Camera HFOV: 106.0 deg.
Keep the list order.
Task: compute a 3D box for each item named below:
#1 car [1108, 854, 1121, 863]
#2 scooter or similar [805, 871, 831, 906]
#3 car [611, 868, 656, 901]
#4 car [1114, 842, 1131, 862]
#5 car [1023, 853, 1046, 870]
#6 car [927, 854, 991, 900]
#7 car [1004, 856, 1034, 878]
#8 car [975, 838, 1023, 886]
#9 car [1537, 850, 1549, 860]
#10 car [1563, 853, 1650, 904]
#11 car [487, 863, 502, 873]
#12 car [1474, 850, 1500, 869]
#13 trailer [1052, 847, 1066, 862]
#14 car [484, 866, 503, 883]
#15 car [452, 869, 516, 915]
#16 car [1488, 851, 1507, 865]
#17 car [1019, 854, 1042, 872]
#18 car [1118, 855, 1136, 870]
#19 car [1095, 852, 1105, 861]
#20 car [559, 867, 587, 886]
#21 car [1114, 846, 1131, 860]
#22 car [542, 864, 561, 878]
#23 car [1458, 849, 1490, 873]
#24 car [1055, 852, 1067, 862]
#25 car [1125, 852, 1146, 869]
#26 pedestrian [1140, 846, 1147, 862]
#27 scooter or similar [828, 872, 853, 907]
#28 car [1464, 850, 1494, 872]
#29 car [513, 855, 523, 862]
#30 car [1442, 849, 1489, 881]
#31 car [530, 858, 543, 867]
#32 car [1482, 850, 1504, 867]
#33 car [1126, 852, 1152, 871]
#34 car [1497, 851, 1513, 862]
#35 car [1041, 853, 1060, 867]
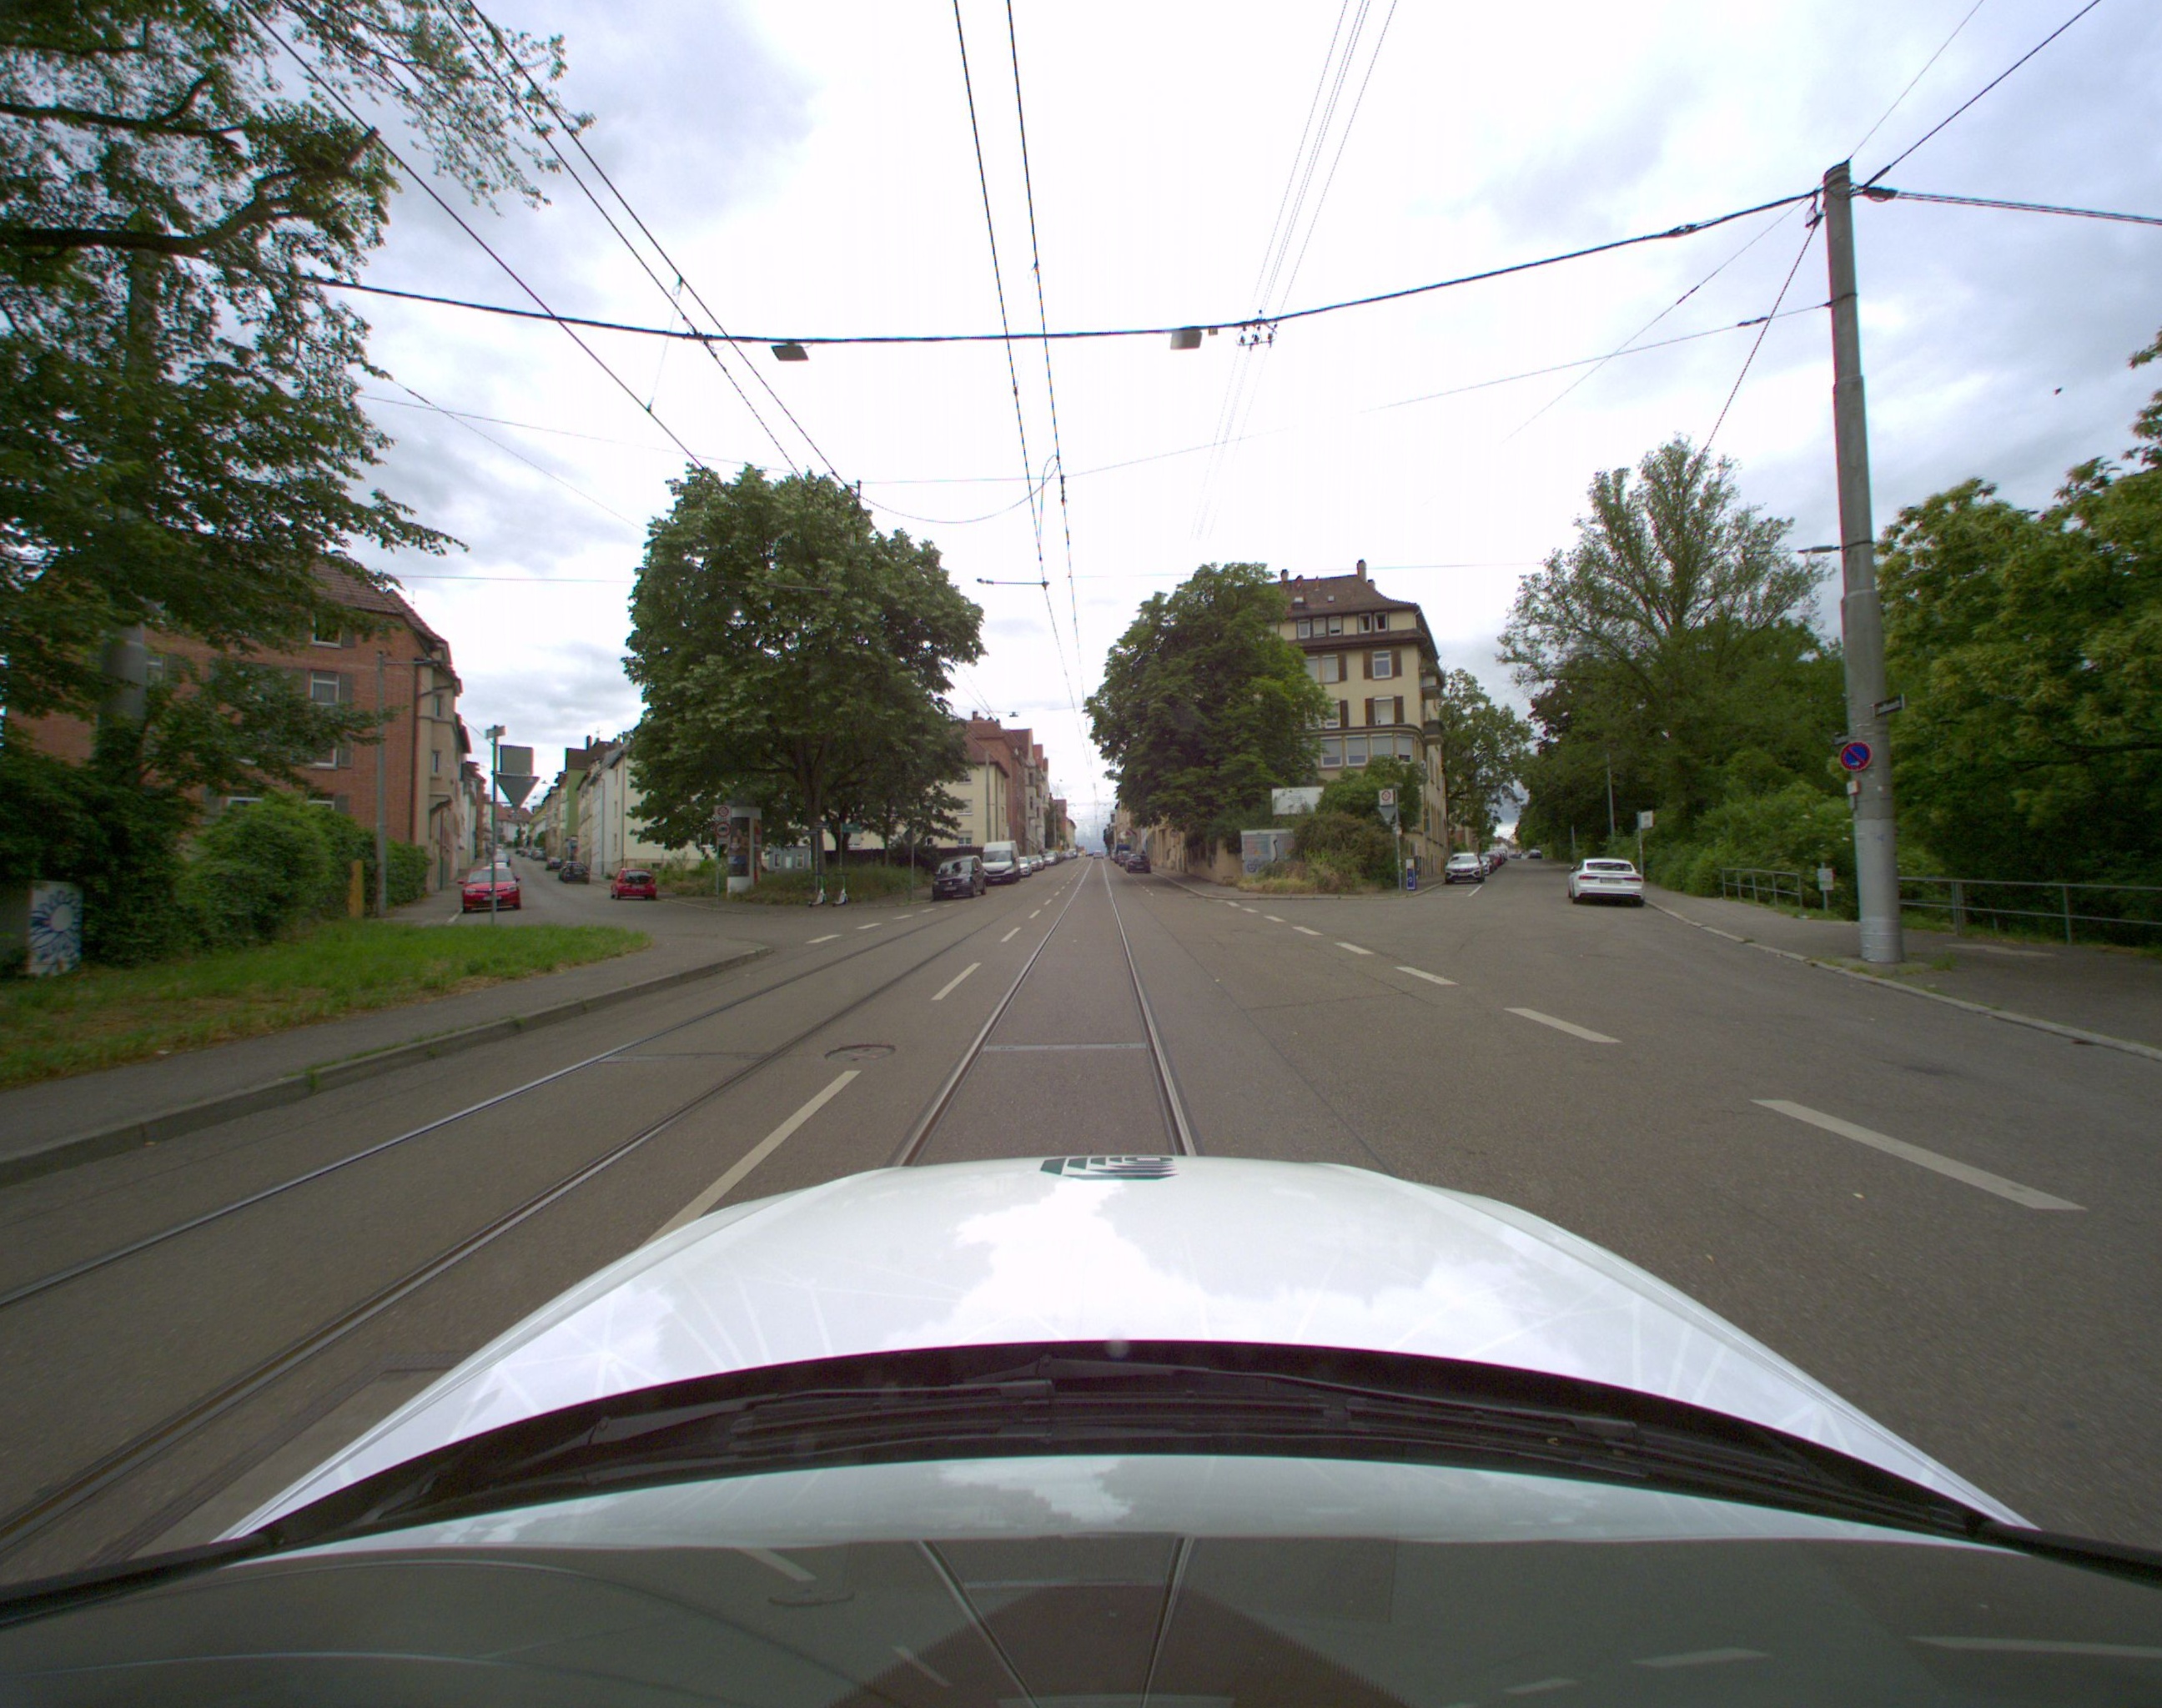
[{"bbox_3d":[5.078,0.700,124.511,1.744,1.390,4.307,1,0,0],"label":"car"},{"bbox_3d":[-9.395,1.226,29.156,0.310,1.145,1.718,-1,1,1],"label":"scooter or similar"},{"bbox_3d":[-20.906,1.382,37.977,1.658,1.415,3.693,0,0,-32],"label":"car"},{"bbox_3d":[5.291,-0.234,103.256,1.986,2.376,5.057,-1,0,1],"label":"car"},{"bbox_3d":[-4.429,0.705,77.916,1.822,1.429,4.626,-5,0,-1],"label":"car"},{"bbox_3d":[-5.248,0.937,35.667,1.755,1.775,4.671,-5,0,3],"label":"car"},{"bbox_3d":[-4.519,0.947,59.763,1.713,1.403,4.314,-4,0,1],"label":"car"},{"bbox_3d":[-4.941,0.451,50.055,2.152,2.606,6.217,-4,0,0],"label":"car"},{"bbox_3d":[77.009,0.192,135.814,1.727,1.541,3.811,-4,-2,29],"label":"car"},{"bbox_3d":[16.304,0.693,25.478,1.876,1.381,4.628,1,1,28],"label":"car"},{"bbox_3d":[-70.537,1.671,97.899,1.464,1.235,3.384,0,0,-36],"label":"car"},{"bbox_3d":[35.181,0.487,70.557,1.727,1.541,3.811,-4,-2,29],"label":"car"},{"bbox_3d":[-3.308,0.085,121.135,1.742,2.155,4.073,-3,0,2],"label":"trailer"},{"bbox_3d":[-57.202,2.018,79.309,1.464,1.479,3.739,0,-3,-36],"label":"car"},{"bbox_3d":[-21.154,1.292,28.930,1.757,1.478,3.574,0,0,-36],"label":"car"},{"bbox_3d":[49.012,0.447,95.846,1.727,1.541,3.811,-4,-2,29],"label":"car"},{"bbox_3d":[-4.501,0.770,73.368,1.594,1.368,3.809,-5,0,2],"label":"car"},{"bbox_3d":[4.819,0.889,85.479,1.821,1.519,4.029,1,1,2],"label":"car"},{"bbox_3d":[3.366,0.434,145.683,1.667,1.513,3.797,-1,0,0],"label":"car"},{"bbox_3d":[-40.206,1.772,64.450,1.683,1.415,3.691,0,0,-35],"label":"car"},{"bbox_3d":[4.992,-0.098,97.622,1.774,1.530,4.192,2,0,0],"label":"car"},{"bbox_3d":[-58.165,1.875,89.429,1.683,1.415,3.691,0,0,-35],"label":"car"},{"bbox_3d":[27.461,0.495,56.830,1.727,1.541,3.811,-4,-2,29],"label":"car"},{"bbox_3d":[-3.257,0.467,132.875,1.690,1.468,3.024,-3,0,2],"label":"car"},{"bbox_3d":[4.674,0.548,70.485,1.689,1.404,3.669,1,1,2],"label":"car"},{"bbox_3d":[7.016,0.007,91.529,0.540,1.682,0.515,-5,-3,-7],"label":"pedestrian"},{"bbox_3d":[-8.663,1.260,29.367,0.310,1.145,1.718,-1,1,1],"label":"scooter or similar"},{"bbox_3d":[29.730,0.496,60.762,1.727,1.541,3.811,-4,-2,29],"label":"car"},{"bbox_3d":[-118.267,0.896,171.111,1.683,1.415,3.691,0,0,-35],"label":"car"},{"bbox_3d":[20.395,0.556,43.092,1.823,1.534,4.533,-2,-1,30],"label":"car"},{"bbox_3d":[-85.873,1.330,128.428,1.683,1.415,3.691,0,0,-35],"label":"car"},{"bbox_3d":[41.709,0.465,82.357,1.727,1.541,3.811,-4,-2,29],"label":"car"},{"bbox_3d":[4.534,0.568,64.009,1.833,1.403,4.168,1,0,1],"label":"car"},{"bbox_3d":[60.109,0.335,115.423,1.727,1.541,3.811,-4,-2,29],"label":"car"},{"bbox_3d":[-3.612,0.715,97.120,1.821,1.429,4.841,-3,0,2],"label":"car"}]
